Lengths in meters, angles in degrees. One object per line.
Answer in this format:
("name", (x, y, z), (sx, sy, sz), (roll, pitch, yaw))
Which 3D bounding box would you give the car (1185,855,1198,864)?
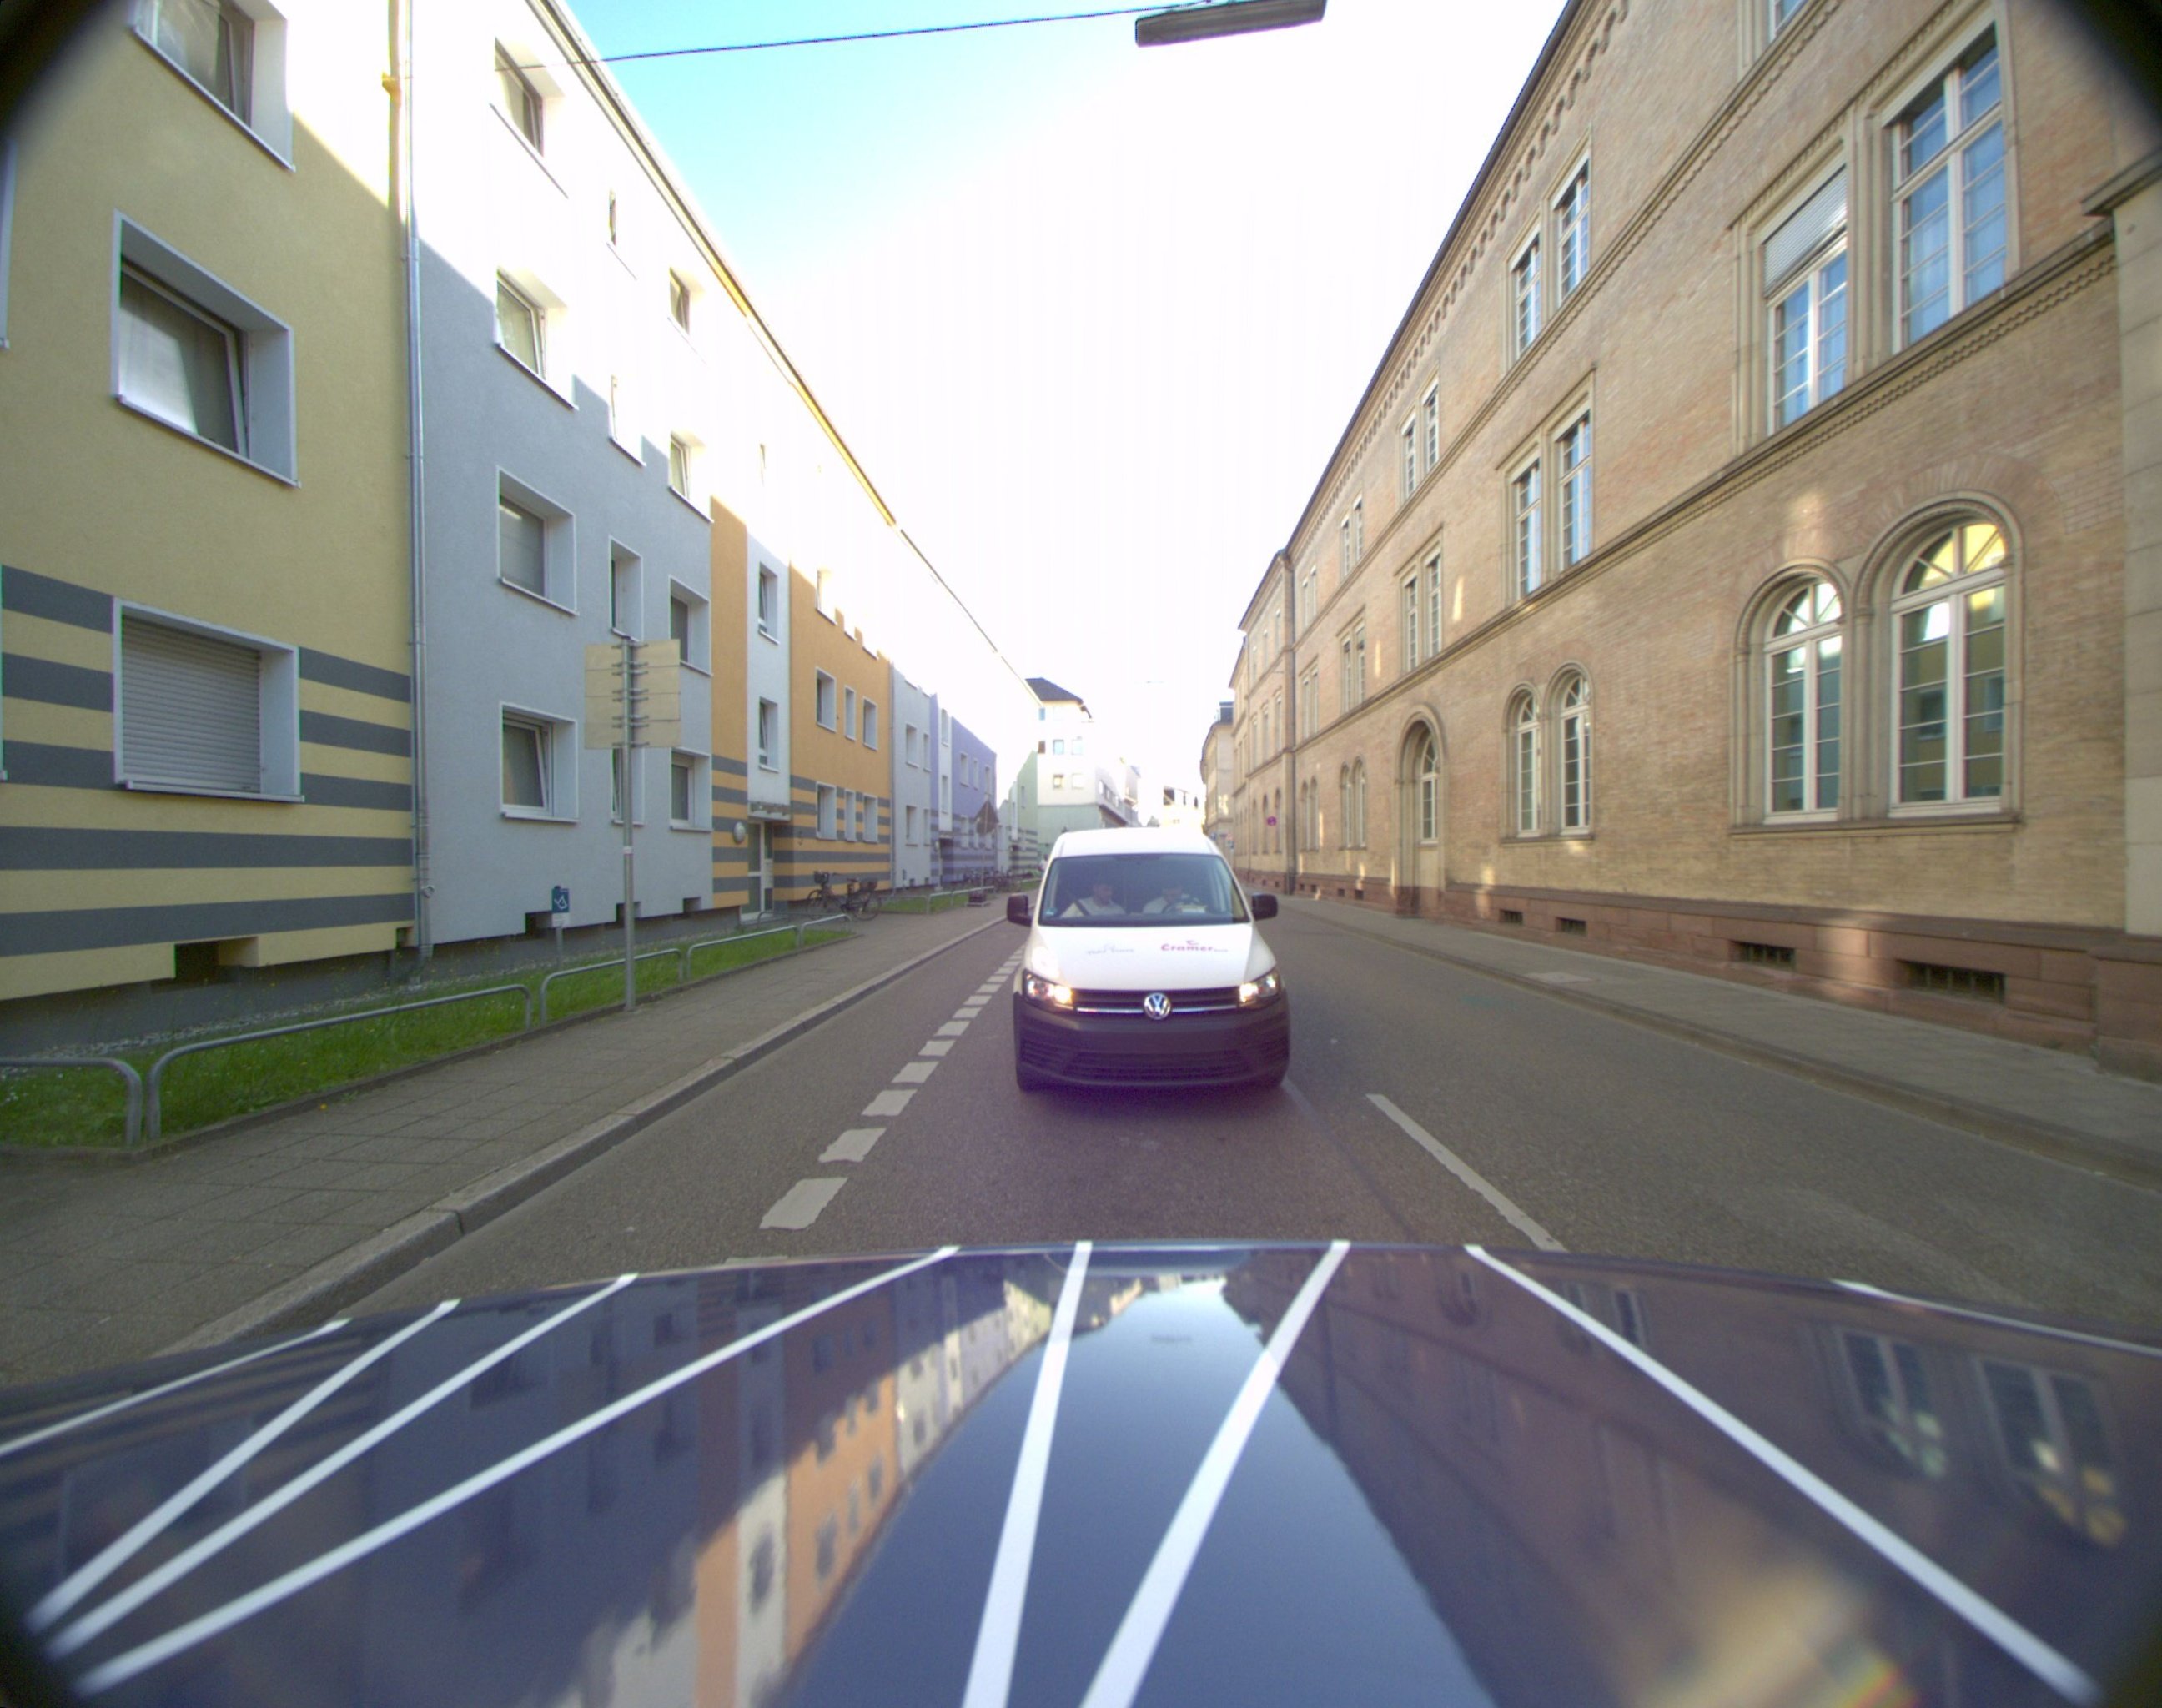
("car", (22.110, 1.015, 152.017), (1.996, 1.643, 4.233), (-2, 1, 17))

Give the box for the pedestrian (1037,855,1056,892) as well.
("pedestrian", (-1.552, 0.860, 34.510), (0.705, 1.627, 0.833), (2, 2, 5))

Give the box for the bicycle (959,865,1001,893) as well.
("bicycle", (-4.233, 1.032, 31.836), (1.676, 1.145, 0.484), (0, 0, 4))

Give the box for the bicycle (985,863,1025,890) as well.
("bicycle", (-3.370, 0.988, 33.675), (1.676, 1.145, 0.484), (0, 0, 4))

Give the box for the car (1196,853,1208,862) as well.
("car", (26.092, 0.724, 163.747), (1.996, 1.643, 4.233), (-2, 1, 17))

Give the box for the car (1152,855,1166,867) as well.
("car", (12.648, 1.137, 122.695), (1.997, 1.643, 4.231), (-2, 1, 9))

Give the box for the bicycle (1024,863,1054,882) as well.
("bicycle", (-2.513, 1.133, 46.046), (1.779, 1.145, 0.484), (0, 0, 0))

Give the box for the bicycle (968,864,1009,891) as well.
("bicycle", (-4.029, 1.005, 33.129), (1.676, 1.145, 0.484), (0, 0, 4))

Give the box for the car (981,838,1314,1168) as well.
("car", (0.398, 0.772, 6.746), (1.769, 1.761, 5.331), (-1, 1, 1))

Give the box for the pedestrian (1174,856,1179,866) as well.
("pedestrian", (15.931, 1.093, 126.413), (0.705, 1.627, 0.833), (3, 2, 12))

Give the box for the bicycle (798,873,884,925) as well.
("bicycle", (-5.382, 1.005, 17.099), (1.780, 1.116, 0.484), (0, 0, -5))

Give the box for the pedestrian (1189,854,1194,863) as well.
("pedestrian", (20.620, 0.880, 141.590), (0.704, 1.627, 0.833), (3, 2, 14))
